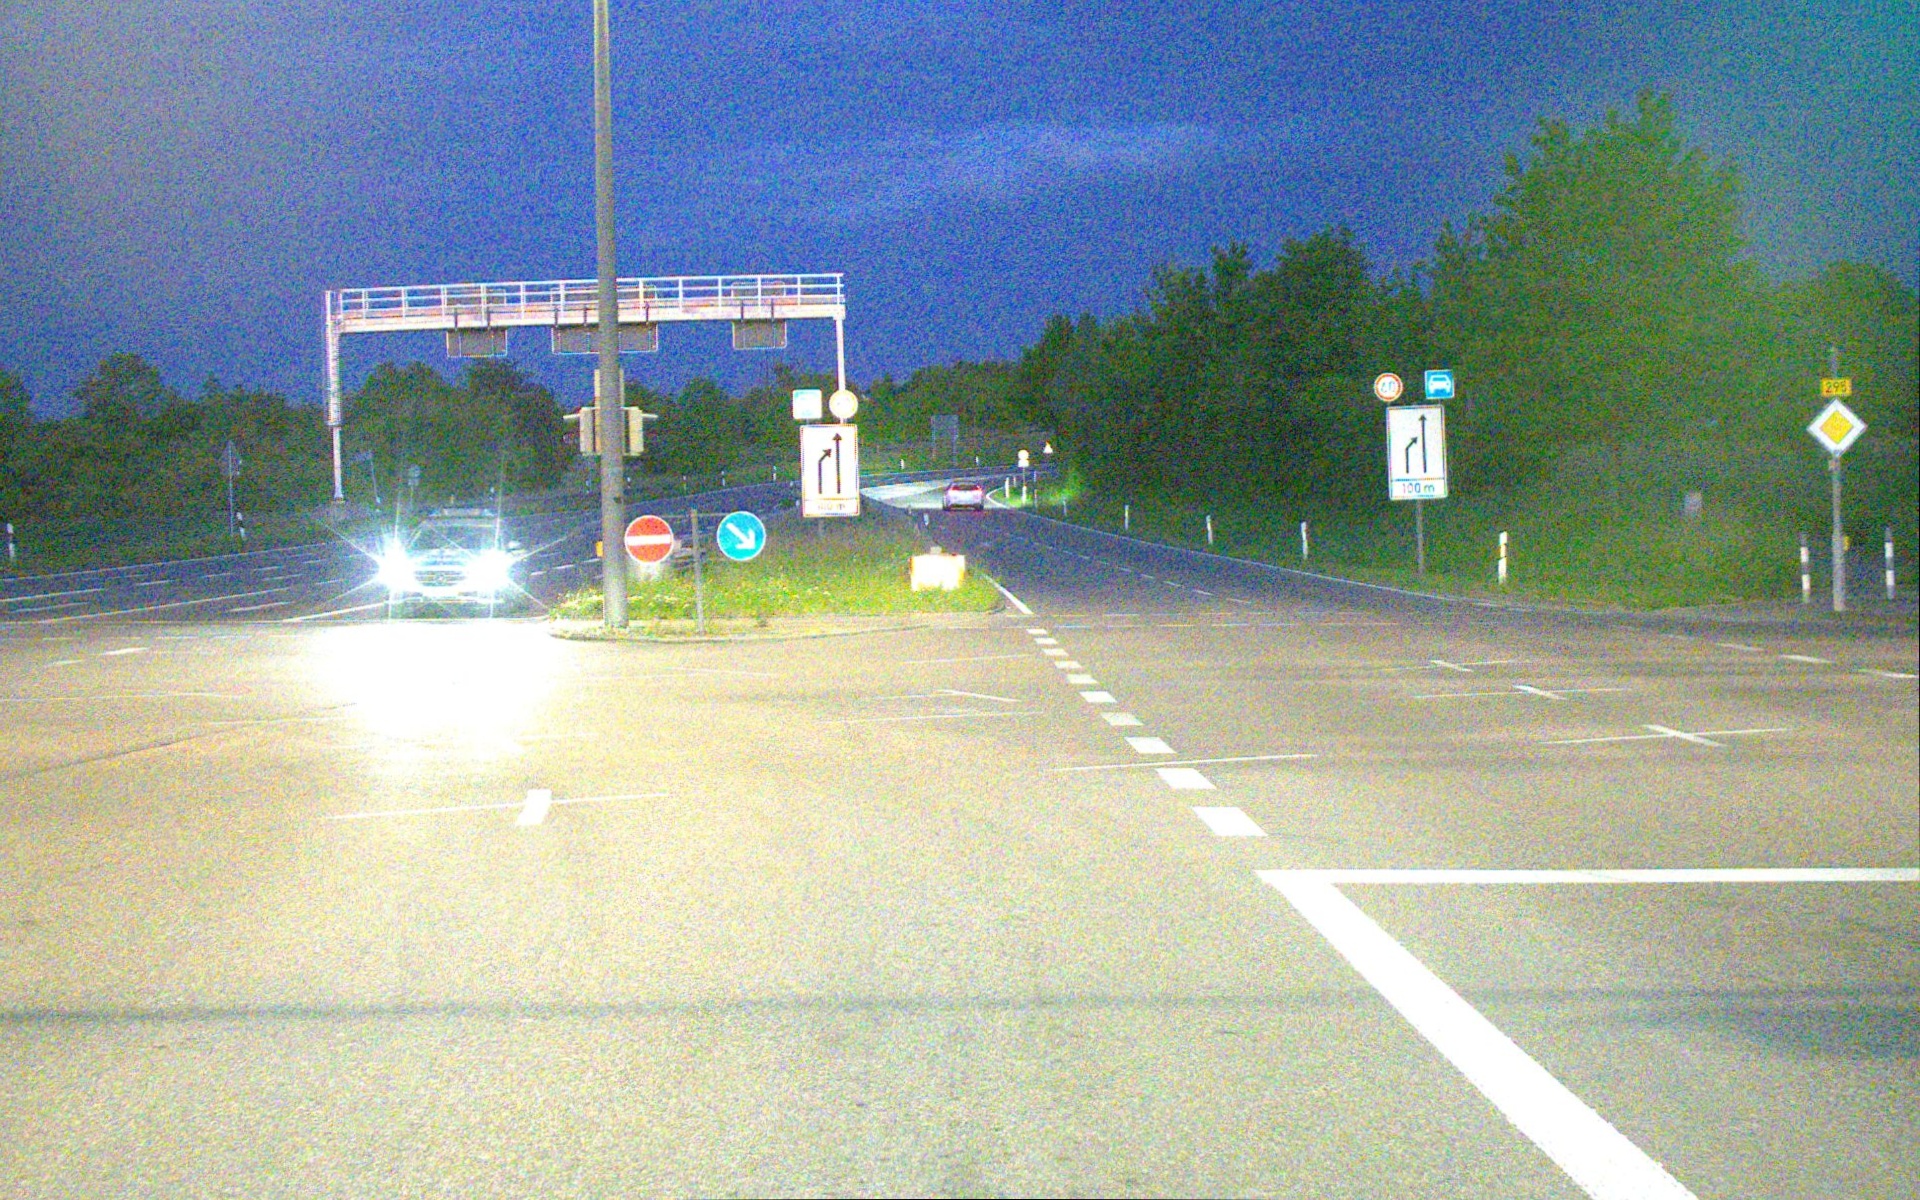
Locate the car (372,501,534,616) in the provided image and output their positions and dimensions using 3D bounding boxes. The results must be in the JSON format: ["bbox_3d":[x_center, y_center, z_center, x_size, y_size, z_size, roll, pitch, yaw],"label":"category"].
[{"bbox_3d":[-7.726,-0.669,52.692,1.993,1.692,4.001,0,2,-2],"label":"car"}]

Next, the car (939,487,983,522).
[{"bbox_3d":[0.075,-4.602,165.361,2.007,1.605,3.845,-1,2,2],"label":"car"}]
